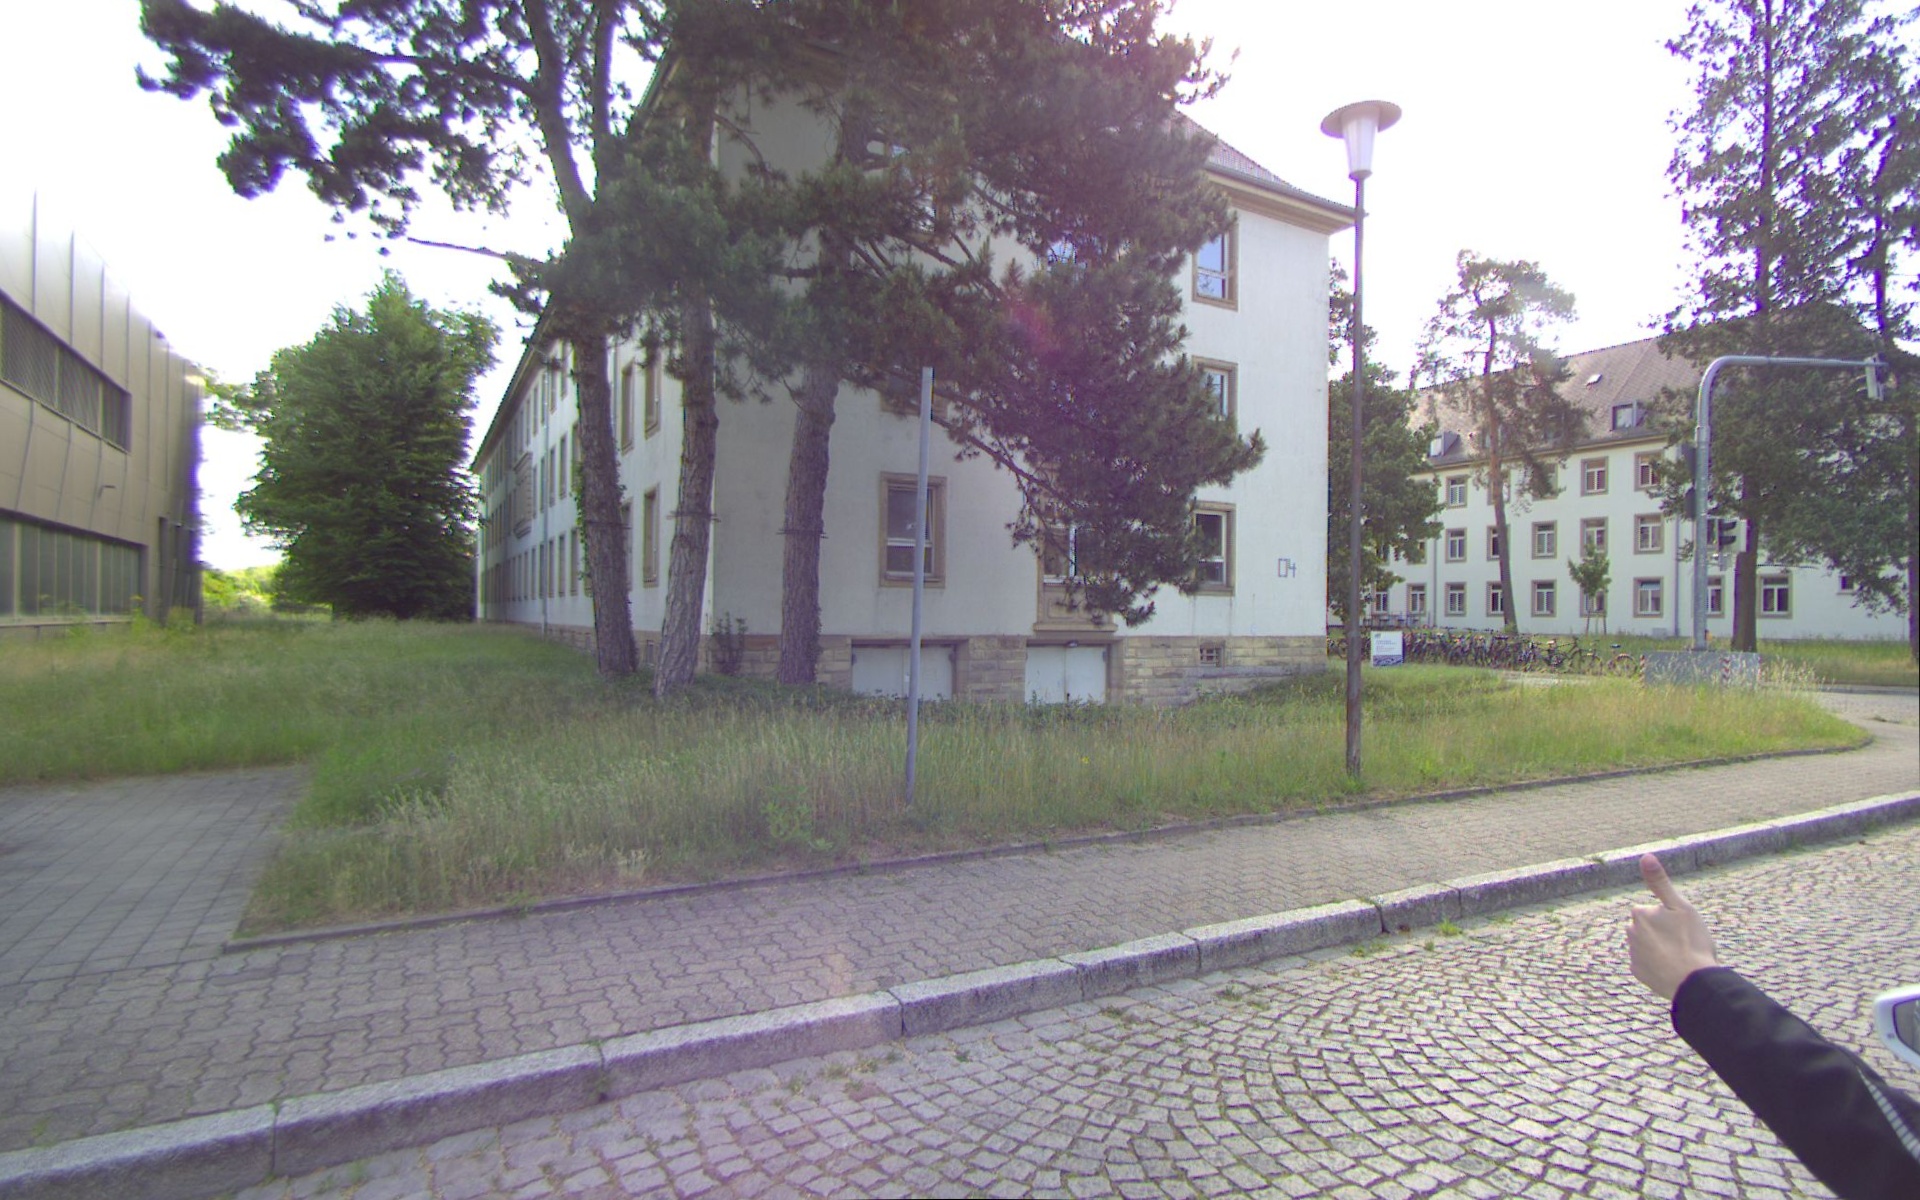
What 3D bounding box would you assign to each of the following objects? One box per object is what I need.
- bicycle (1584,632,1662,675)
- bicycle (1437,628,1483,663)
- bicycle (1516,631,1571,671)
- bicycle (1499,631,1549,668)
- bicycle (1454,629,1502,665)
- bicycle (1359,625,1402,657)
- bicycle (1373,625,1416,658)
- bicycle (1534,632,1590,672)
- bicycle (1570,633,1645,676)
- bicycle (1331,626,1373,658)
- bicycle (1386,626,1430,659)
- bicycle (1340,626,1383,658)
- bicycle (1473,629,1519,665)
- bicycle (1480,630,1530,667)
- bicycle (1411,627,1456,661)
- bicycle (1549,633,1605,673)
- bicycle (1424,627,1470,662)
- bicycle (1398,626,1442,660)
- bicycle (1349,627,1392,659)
[{"bbox_3d":[20.209,1.609,30.645,0.627,1.237,1.936,1,-1,-29],"label":"bicycle"},{"bbox_3d":[17.943,1.628,36.018,1.954,1.237,0.511,1,-1,-31],"label":"bicycle"},{"bbox_3d":[19.049,1.651,32.800,2.080,1.237,0.630,1,-1,-31],"label":"bicycle"},{"bbox_3d":[18.959,1.649,33.740,1.966,1.237,0.569,1,-1,-31],"label":"bicycle"},{"bbox_3d":[18.299,1.635,35.477,1.992,1.237,0.511,1,-1,-31],"label":"bicycle"},{"bbox_3d":[16.308,1.586,38.934,1.914,1.237,0.511,1,-1,-31],"label":"bicycle"},{"bbox_3d":[16.616,1.592,38.408,1.914,1.237,0.511,1,-1,-31],"label":"bicycle"},{"bbox_3d":[19.339,1.657,32.271,2.099,1.237,0.630,1,-1,-31],"label":"bicycle"},{"bbox_3d":[19.551,1.616,30.375,0.627,1.237,1.853,1,-1,-29],"label":"bicycle"},{"bbox_3d":[15.660,1.665,40.107,1.914,1.237,0.511,1,-1,-31],"label":"bicycle"},{"bbox_3d":[16.890,1.598,37.883,1.914,1.237,0.511,1,-1,-31],"label":"bicycle"},{"bbox_3d":[15.873,1.669,39.713,1.914,1.237,0.511,1,-1,-31],"label":"bicycle"},{"bbox_3d":[18.783,1.645,35.169,1.877,1.237,0.545,1,-1,-31],"label":"bicycle"},{"bbox_3d":[18.704,1.646,34.457,2.005,1.237,0.576,1,-1,-31],"label":"bicycle"},{"bbox_3d":[17.400,1.609,36.907,1.931,1.237,0.511,1,-1,-31],"label":"bicycle"},{"bbox_3d":[19.582,1.662,31.854,2.089,1.237,0.630,1,-1,-31],"label":"bicycle"},{"bbox_3d":[17.685,1.618,36.466,1.954,1.237,0.511,1,-1,-31],"label":"bicycle"},{"bbox_3d":[17.138,1.604,37.396,1.914,1.237,0.511,1,-1,-31],"label":"bicycle"},{"bbox_3d":[16.083,1.674,39.339,1.914,1.237,0.511,1,-1,-31],"label":"bicycle"}]
